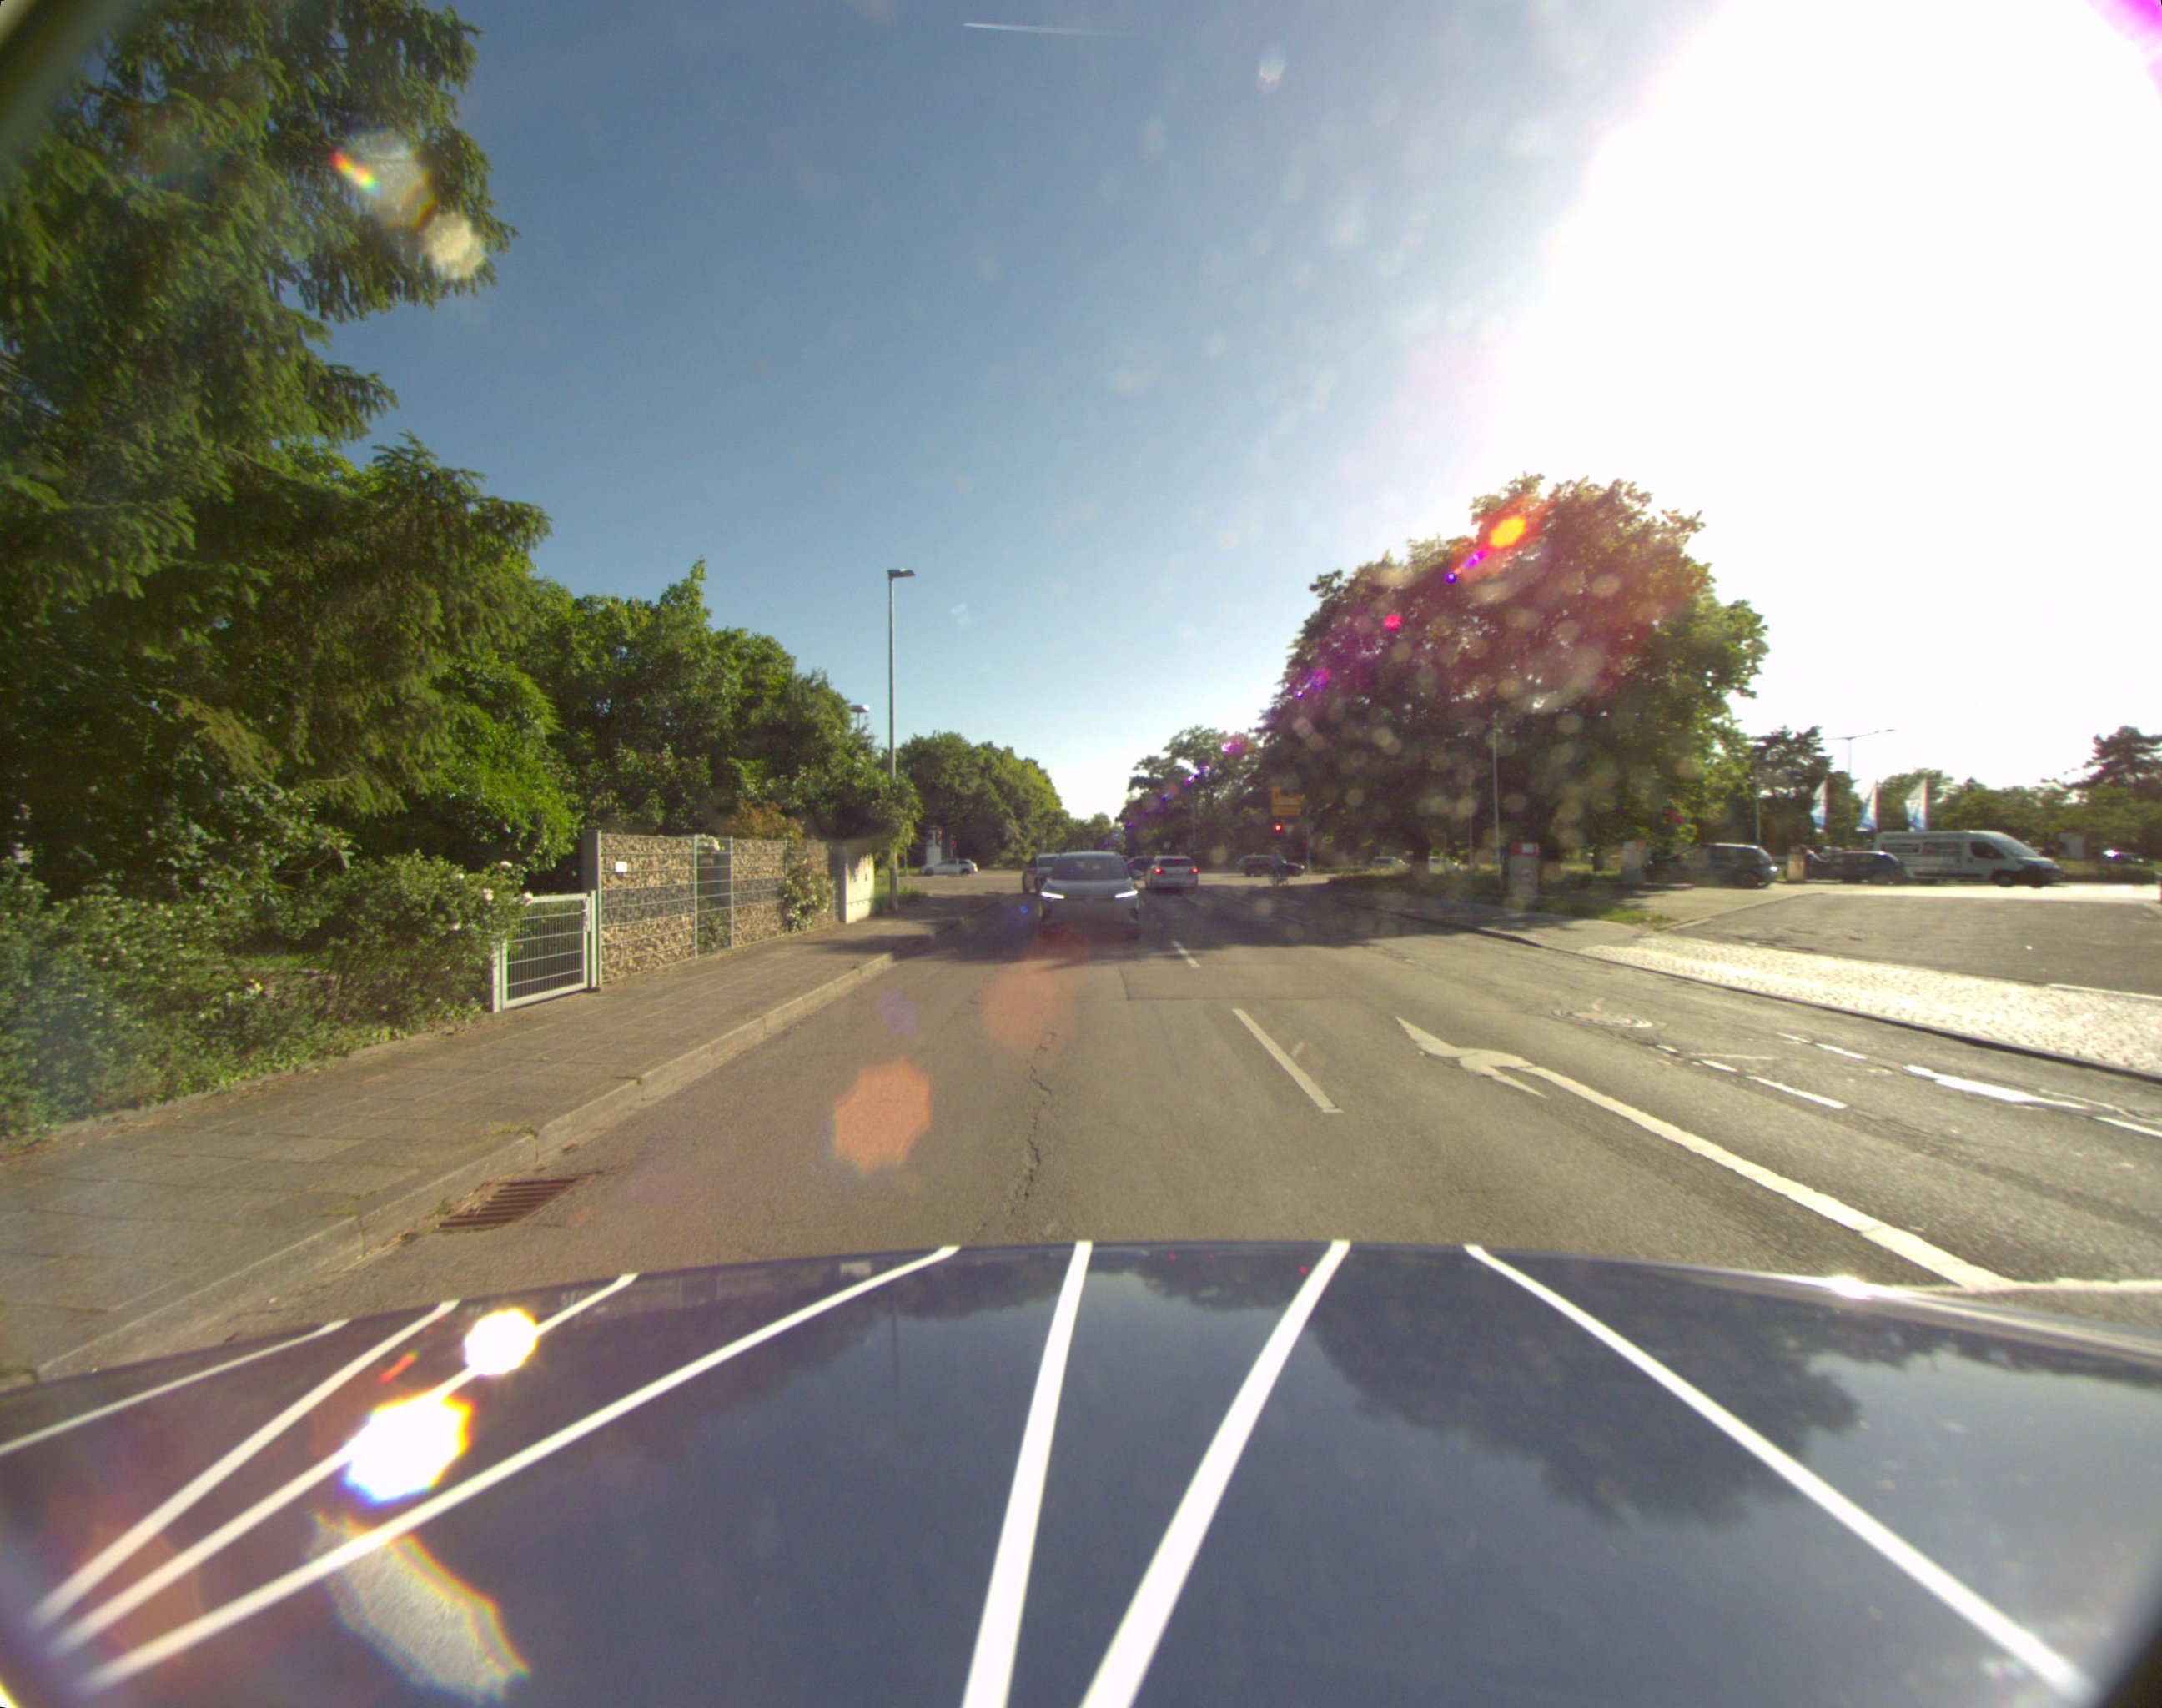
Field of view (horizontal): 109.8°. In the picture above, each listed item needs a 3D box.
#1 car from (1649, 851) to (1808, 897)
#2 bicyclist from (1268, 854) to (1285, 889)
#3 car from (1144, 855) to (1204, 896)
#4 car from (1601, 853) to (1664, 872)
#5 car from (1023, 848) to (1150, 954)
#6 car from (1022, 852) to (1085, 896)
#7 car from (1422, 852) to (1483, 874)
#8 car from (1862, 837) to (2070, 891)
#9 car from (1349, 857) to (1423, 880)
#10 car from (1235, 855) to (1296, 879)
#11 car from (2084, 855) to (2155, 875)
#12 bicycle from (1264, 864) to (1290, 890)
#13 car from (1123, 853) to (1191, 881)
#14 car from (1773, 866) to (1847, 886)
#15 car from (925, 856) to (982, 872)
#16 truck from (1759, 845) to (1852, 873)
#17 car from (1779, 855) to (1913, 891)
[{"bbox_3d":[23.216,0.659,27.371,1.763,1.368,3.988,-1,3,-35],"label":"car"},{"bbox_3d":[9.083,0.807,35.288,0.542,1.632,0.829,0,1,-5],"label":"bicyclist"},{"bbox_3d":[3.663,0.823,30.756,1.841,1.480,4.889,0,0,0],"label":"car"},{"bbox_3d":[43.725,0.671,60.241,4.122,1.432,1.691,0,1,-12],"label":"car"},{"bbox_3d":[0.178,0.745,14.313,1.992,1.631,4.365,-1,1,2],"label":"car"},{"bbox_3d":[-1.176,0.731,30.095,1.693,1.564,4.116,-2,0,-13],"label":"car"},{"bbox_3d":[28.281,0.646,57.816,3.912,1.432,1.691,-3,1,-12],"label":"car"},{"bbox_3d":[39.207,0.336,33.953,2.001,2.088,5.643,0,3,-15],"label":"car"},{"bbox_3d":[20.890,0.968,52.100,4.365,1.478,1.918,0,3,-10],"label":"car"},{"bbox_3d":[13.029,0.892,53.578,3.990,1.532,1.626,1,3,21],"label":"car"},{"bbox_3d":[89.289,0.919,65.338,4.393,1.674,1.825,0,1,-11],"label":"car"},{"bbox_3d":[9.081,1.064,35.233,0.529,1.135,2.025,0,0,-5],"label":"bicycle"},{"bbox_3d":[4.879,0.840,48.947,3.912,1.432,1.690,-4,3,-11],"label":"car"},{"bbox_3d":[57.829,1.749,60.300,4.364,1.478,1.918,0,3,-8],"label":"car"},{"bbox_3d":[-10.389,0.826,61.795,4.503,1.221,1.691,0,0,-13],"label":"car"},{"bbox_3d":[60.954,0.397,63.952,6.776,2.296,2.189,0,0,-12],"label":"truck"},{"bbox_3d":[33.808,0.782,33.693,1.575,1.330,3.896,-1,3,-31],"label":"car"}]
